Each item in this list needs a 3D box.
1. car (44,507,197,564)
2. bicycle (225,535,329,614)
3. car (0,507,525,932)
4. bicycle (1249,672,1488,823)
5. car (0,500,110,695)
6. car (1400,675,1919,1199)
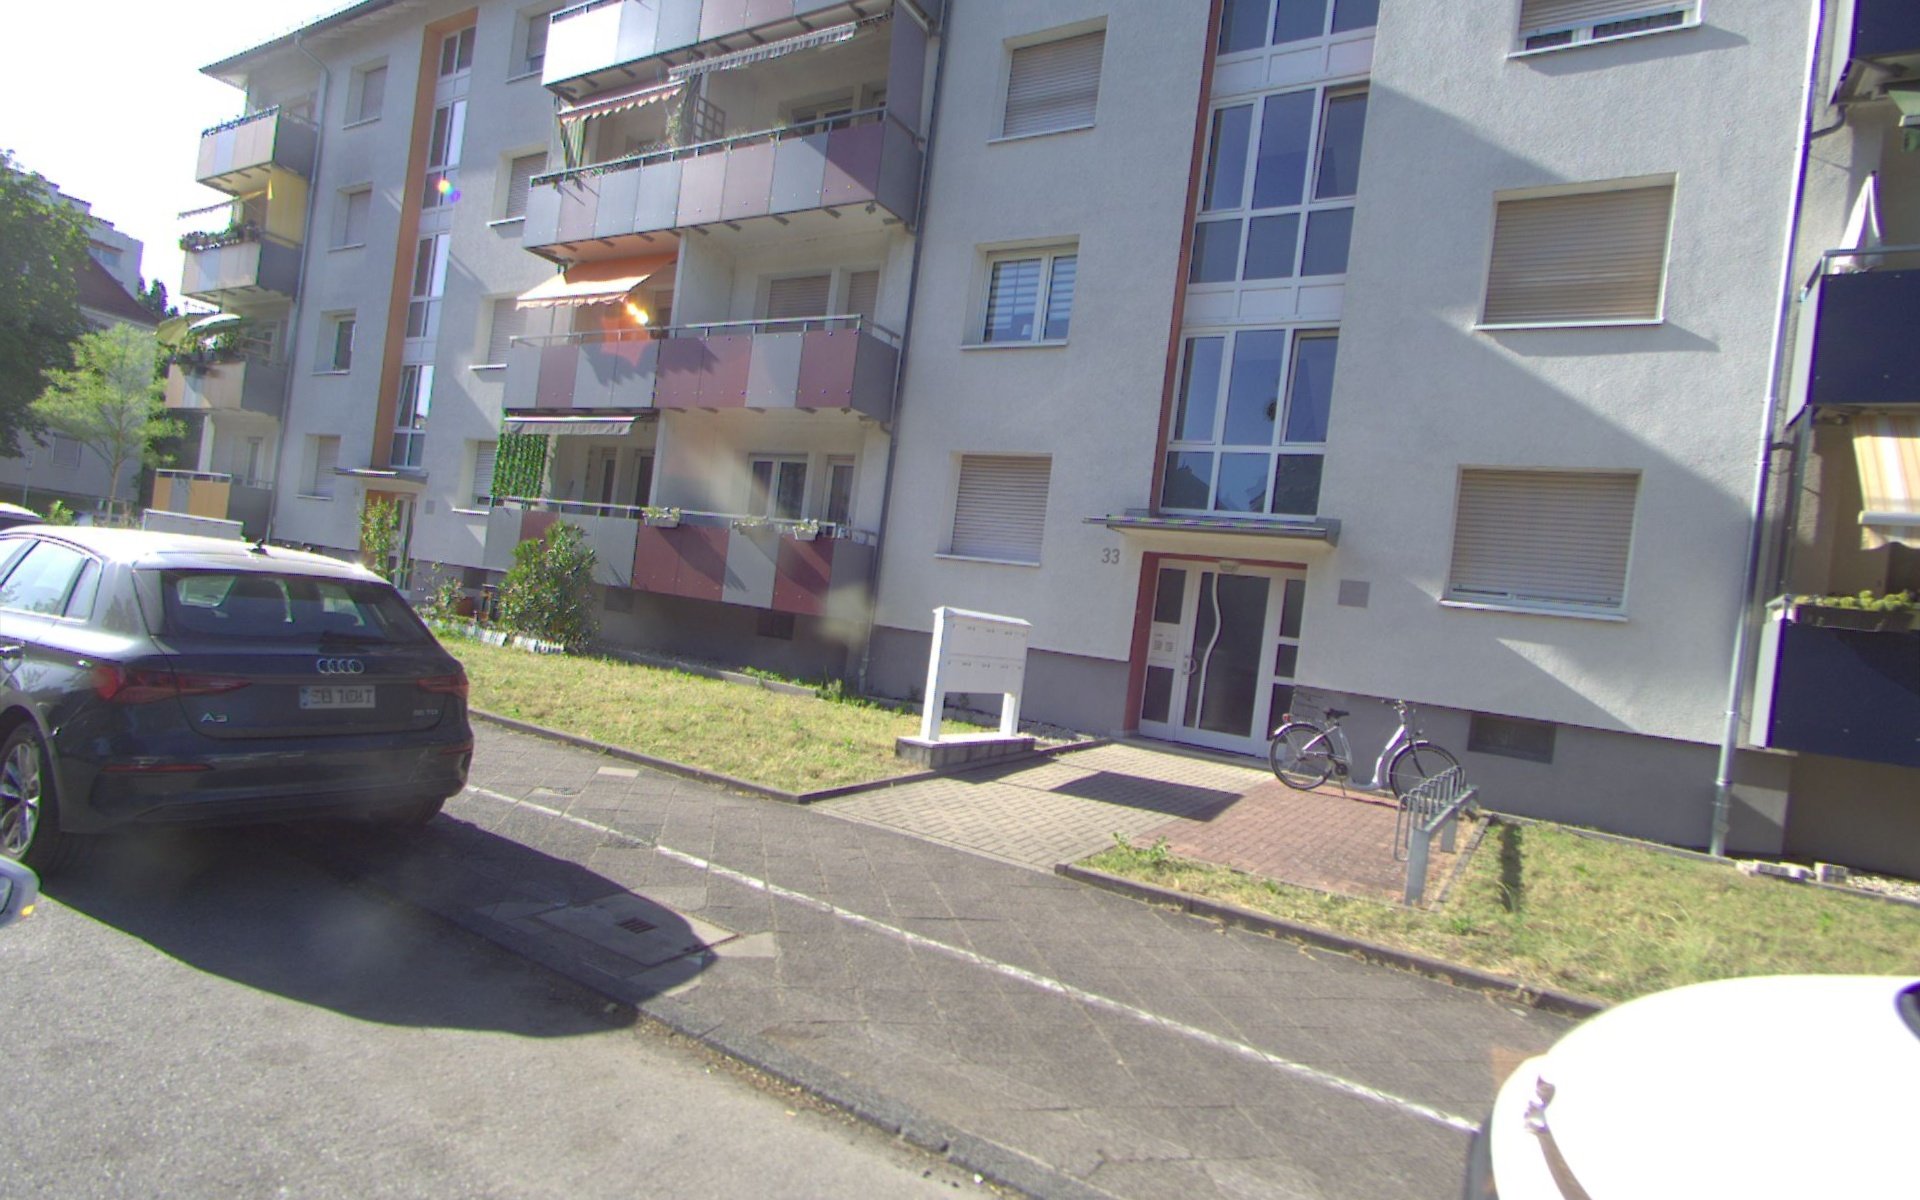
[{"bbox_3d":[-30.758,-2.322,36.971,1.630,1.446,3.896,7,-1,28],"label":"car"},{"bbox_3d":[-11.712,-0.447,17.234,1.980,1.190,0.597,5,-1,31],"label":"bicycle"},{"bbox_3d":[-4.582,0.315,5.487,4.396,1.454,1.701,7,1,30],"label":"car"},{"bbox_3d":[3.898,1.367,9.686,1.976,1.085,0.523,7,2,31],"label":"bicycle"},{"bbox_3d":[-9.035,-0.230,8.389,4.084,1.453,1.723,7,0,32],"label":"car"},{"bbox_3d":[2.606,1.100,1.134,3.794,1.517,1.751,7,0,29],"label":"car"}]
